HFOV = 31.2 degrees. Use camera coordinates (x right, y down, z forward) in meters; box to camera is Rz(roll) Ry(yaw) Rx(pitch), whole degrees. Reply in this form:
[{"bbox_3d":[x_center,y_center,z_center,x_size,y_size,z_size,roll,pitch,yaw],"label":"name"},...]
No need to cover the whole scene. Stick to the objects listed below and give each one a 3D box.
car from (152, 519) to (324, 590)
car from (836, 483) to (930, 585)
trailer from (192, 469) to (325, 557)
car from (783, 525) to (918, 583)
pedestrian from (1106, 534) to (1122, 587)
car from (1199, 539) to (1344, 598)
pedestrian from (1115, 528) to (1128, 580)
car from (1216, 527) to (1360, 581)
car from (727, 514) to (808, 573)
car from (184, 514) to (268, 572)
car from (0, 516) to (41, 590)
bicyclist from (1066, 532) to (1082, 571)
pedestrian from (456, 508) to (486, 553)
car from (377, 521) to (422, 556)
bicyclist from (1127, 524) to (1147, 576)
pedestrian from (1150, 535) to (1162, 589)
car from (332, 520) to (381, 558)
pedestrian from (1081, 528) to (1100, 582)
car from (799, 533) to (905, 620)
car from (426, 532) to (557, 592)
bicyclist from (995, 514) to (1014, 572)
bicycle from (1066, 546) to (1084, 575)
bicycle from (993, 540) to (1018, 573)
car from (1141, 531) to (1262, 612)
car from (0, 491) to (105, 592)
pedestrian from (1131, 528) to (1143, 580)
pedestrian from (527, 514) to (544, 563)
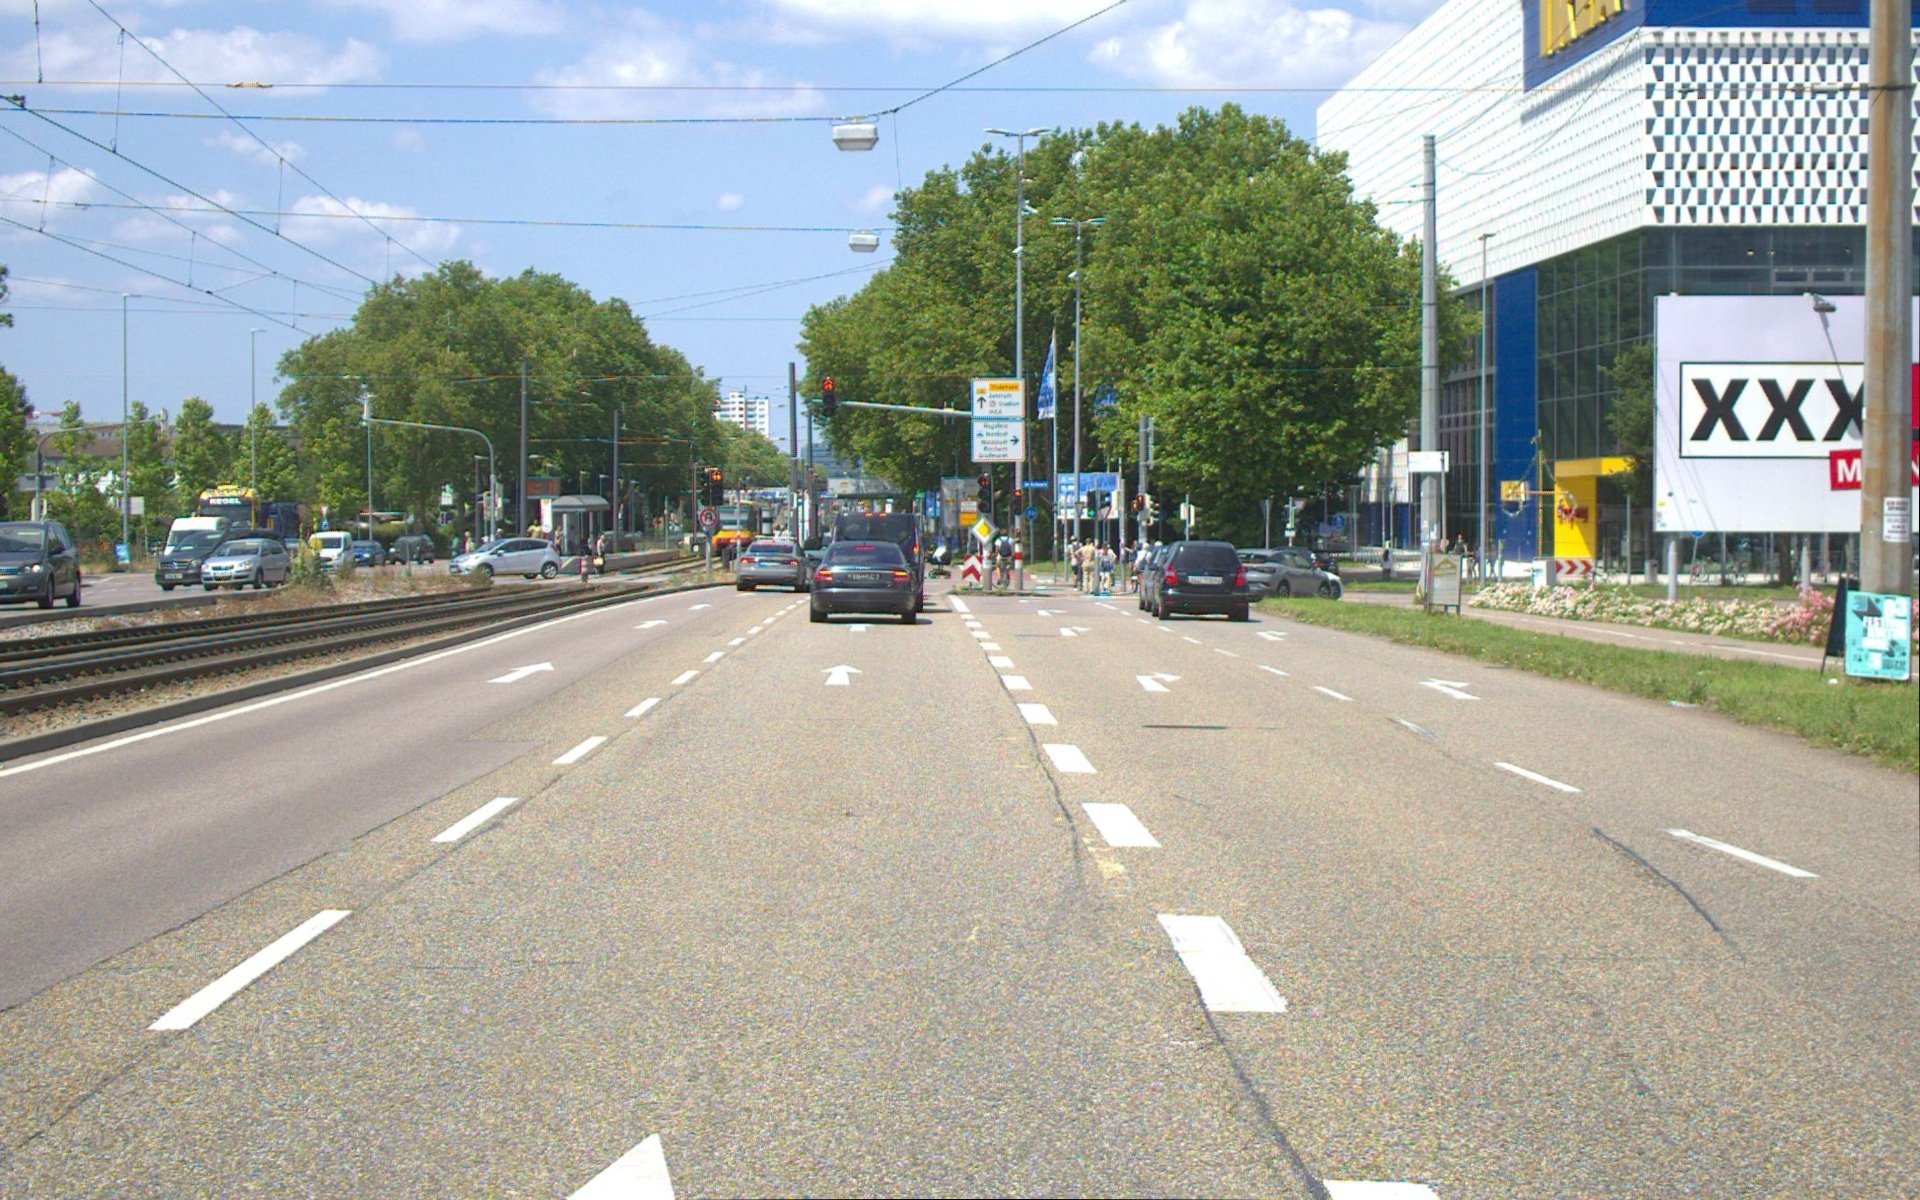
[{"bbox_3d":[-22.596,-1.416,107.730,1.999,1.824,4.957,6,2,41],"label":"car"},{"bbox_3d":[-1.573,-1.370,70.138,1.836,1.943,4.001,1,3,-1],"label":"car"},{"bbox_3d":[-29.877,-3.660,147.132,2.767,3.506,15.880,1,1,-1],"label":"trailer"},{"bbox_3d":[-3.965,-1.670,124.175,4.395,1.911,2.001,2,1,-21],"label":"car"},{"bbox_3d":[4.755,-1.215,105.943,0.445,1.629,0.430,1,1,2],"label":"pedestrian"},{"bbox_3d":[8.499,-0.847,93.598,1.998,1.481,4.136,3,2,37],"label":"car"},{"bbox_3d":[5.070,-1.448,108.049,0.381,1.629,0.377,1,1,2],"label":"pedestrian"},{"bbox_3d":[9.942,-1.390,104.111,1.999,1.481,4.378,4,2,44],"label":"car"},{"bbox_3d":[-5.196,-1.557,93.394,1.993,1.481,4.000,2,1,-1],"label":"car"},{"bbox_3d":[-21.093,-1.663,98.900,1.685,1.578,4.059,-2,2,-3],"label":"car"},{"bbox_3d":[-22.934,-1.090,80.100,1.993,1.664,4.469,-1,1,-3],"label":"car"},{"bbox_3d":[3.565,-1.516,107.780,0.470,1.189,0.791,1,1,2],"label":"bicyclist"},{"bbox_3d":[-18.829,-2.683,132.436,0.824,1.714,0.774,2,1,21],"label":"pedestrian"},{"bbox_3d":[-30.664,-3.363,188.156,1.817,1.876,4.000,1,1,-1],"label":"car"},{"bbox_3d":[6.078,-1.721,117.778,0.529,1.758,0.827,1,1,12],"label":"bicyclist"},{"bbox_3d":[6.018,-1.172,105.812,0.320,1.629,0.377,1,1,2],"label":"pedestrian"},{"bbox_3d":[-30.711,-3.131,174.976,1.817,1.876,4.000,1,1,-1],"label":"car"},{"bbox_3d":[4.004,-1.385,105.766,0.554,1.629,0.433,1,1,2],"label":"pedestrian"},{"bbox_3d":[-1.864,-0.437,60.350,1.792,1.450,4.000,0,1,-1],"label":"car"},{"bbox_3d":[-16.227,-1.319,118.995,3.986,1.842,2.001,2,1,-26],"label":"car"},{"bbox_3d":[1.369,-1.760,105.979,0.528,1.783,1.088,1,1,-1],"label":"bicyclist"},{"bbox_3d":[3.609,-1.247,107.708,0.550,0.874,1.697,1,1,2],"label":"bicycle"},{"bbox_3d":[1.402,-1.352,106.346,0.687,0.990,2.752,1,1,-1],"label":"bicycle"},{"bbox_3d":[4.775,-0.590,68.466,1.993,1.481,4.000,2,1,-1],"label":"car"},{"bbox_3d":[-17.915,-1.120,65.805,1.993,1.824,4.970,-2,2,-3],"label":"car"},{"bbox_3d":[5.544,-1.453,107.899,0.339,1.629,0.377,1,1,2],"label":"pedestrian"},{"bbox_3d":[-17.694,-2.556,143.265,0.685,2.007,0.573,1,1,-5],"label":"pedestrian"}]
